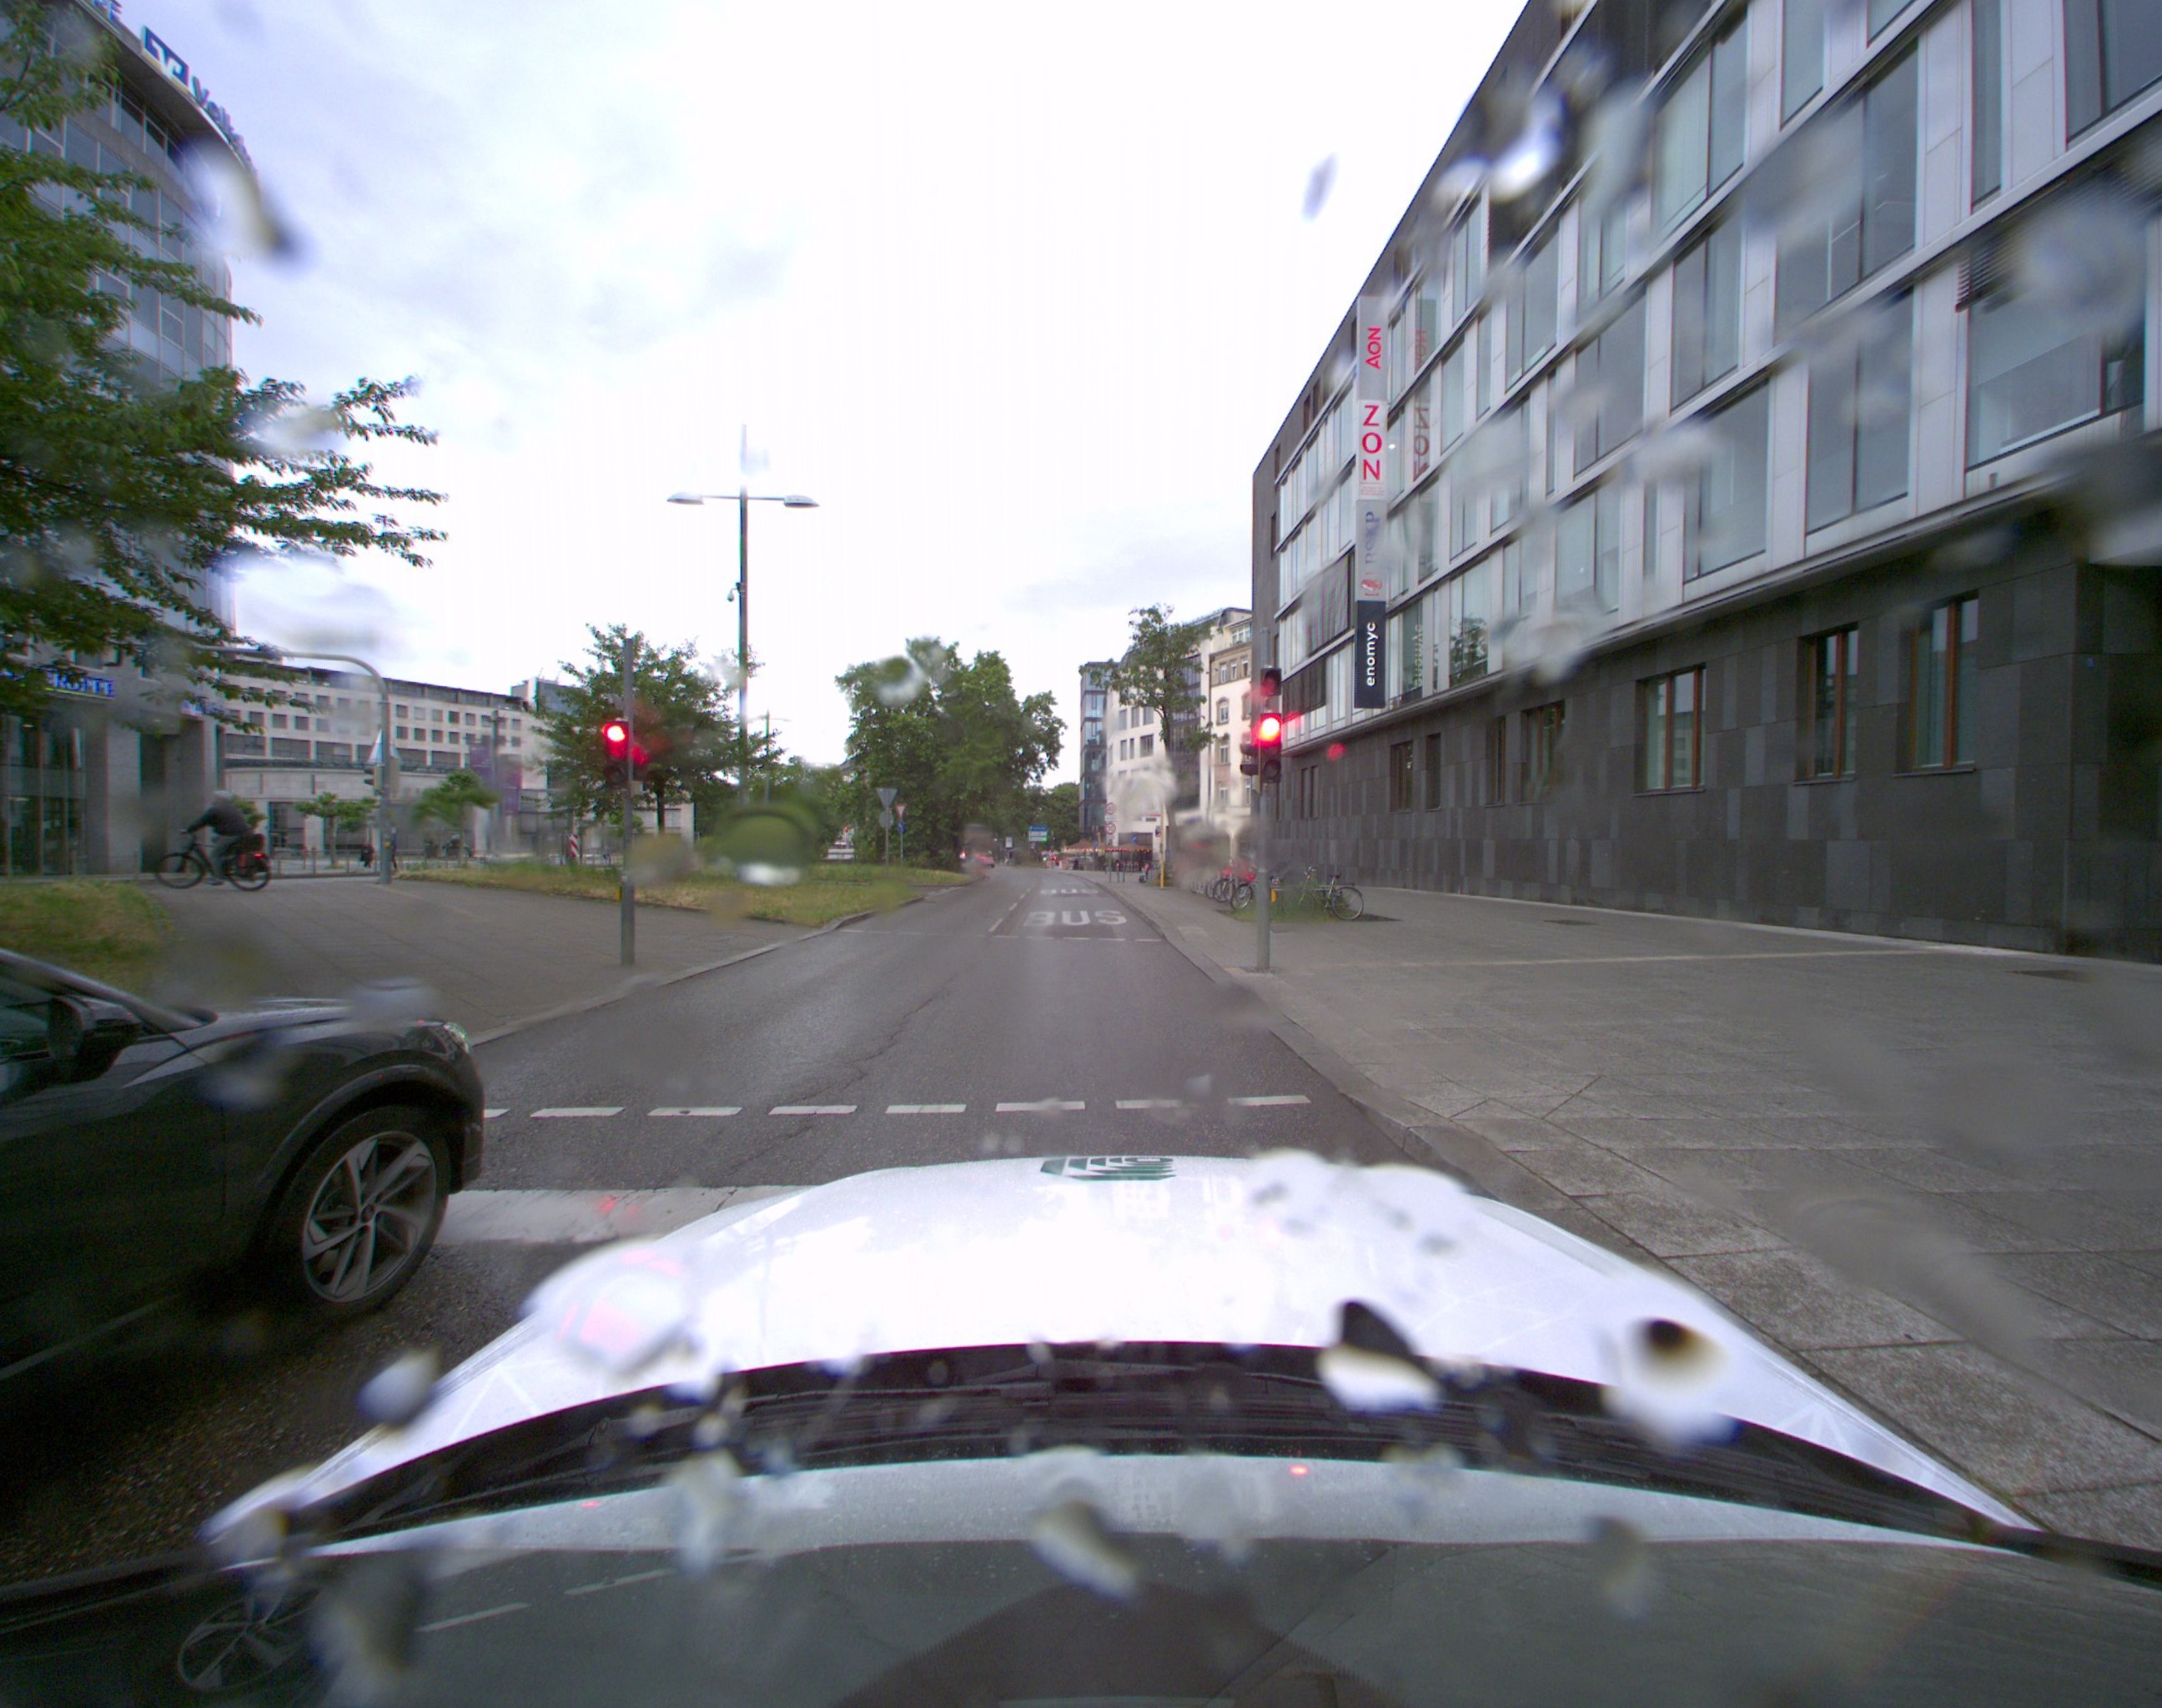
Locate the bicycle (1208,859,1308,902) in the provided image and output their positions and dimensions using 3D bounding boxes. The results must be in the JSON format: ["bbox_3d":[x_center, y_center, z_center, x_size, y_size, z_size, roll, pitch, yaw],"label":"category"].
[{"bbox_3d":[4.687,0.697,21.655,2.530,1.087,0.677,-1,0,-3],"label":"bicycle"}]

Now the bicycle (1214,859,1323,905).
[{"bbox_3d":[4.591,0.682,19.991,2.530,1.087,0.677,-1,0,-3],"label":"bicycle"}]

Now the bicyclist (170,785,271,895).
[{"bbox_3d":[-17.067,-0.275,16.180,1.083,2.082,0.759,2,1,-15],"label":"bicyclist"}]

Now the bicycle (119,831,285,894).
[{"bbox_3d":[-17.328,0.160,16.117,2.129,1.145,0.759,2,1,-15],"label":"bicycle"}]

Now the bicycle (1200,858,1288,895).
[{"bbox_3d":[4.909,0.670,24.625,2.530,1.087,0.677,-1,0,-3],"label":"bicycle"}]

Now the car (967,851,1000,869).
[{"bbox_3d":[-10.480,0.603,87.462,2.006,1.647,3.962,4,0,-30],"label":"car"}]

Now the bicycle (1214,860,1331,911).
[{"bbox_3d":[4.394,0.719,18.770,2.530,1.087,0.677,2,0,-3],"label":"bicycle"}]

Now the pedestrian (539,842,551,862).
[{"bbox_3d":[-54.688,-0.237,83.030,0.791,2.014,0.736,2,-1,-17],"label":"pedestrian"}]

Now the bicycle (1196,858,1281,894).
[{"bbox_3d":[4.929,0.669,25.603,2.530,1.087,0.677,-1,0,-3],"label":"bicycle"}]

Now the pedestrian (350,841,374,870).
[{"bbox_3d":[-38.450,0.083,43.545,0.731,1.516,0.686,-2,0,-24],"label":"pedestrian"}]

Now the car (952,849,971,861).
[{"bbox_3d":[-16.672,0.161,113.326,2.184,1.700,3.978,0,0,-16],"label":"car"}]

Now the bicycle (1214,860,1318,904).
[{"bbox_3d":[4.718,0.701,20.844,2.530,1.087,0.677,-1,0,-3],"label":"bicycle"}]

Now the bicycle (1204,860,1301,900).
[{"bbox_3d":[4.720,0.700,22.522,2.530,1.060,0.677,-1,0,-3],"label":"bicycle"}]

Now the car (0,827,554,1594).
[{"bbox_3d":[-3.186,0.743,1.371,1.842,1.616,4.251,1,1,-1],"label":"car"}]

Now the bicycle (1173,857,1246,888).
[{"bbox_3d":[4.644,0.665,29.563,2.530,1.087,0.627,-1,0,-3],"label":"bicycle"}]

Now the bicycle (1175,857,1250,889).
[{"bbox_3d":[4.657,0.656,28.840,2.530,1.087,0.677,-1,0,-3],"label":"bicycle"}]

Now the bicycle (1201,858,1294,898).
[{"bbox_3d":[4.778,0.685,23.430,2.530,1.087,0.677,-1,0,-3],"label":"bicycle"}]

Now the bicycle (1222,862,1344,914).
[{"bbox_3d":[4.445,0.737,17.964,2.530,1.087,0.677,0,0,-3],"label":"bicycle"}]

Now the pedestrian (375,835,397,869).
[{"bbox_3d":[-37.471,-0.103,43.910,0.622,1.763,0.721,-2,0,-19],"label":"pedestrian"}]

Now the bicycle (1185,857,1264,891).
[{"bbox_3d":[4.775,0.653,27.200,2.530,1.087,0.677,-1,0,-3],"label":"bicycle"}]

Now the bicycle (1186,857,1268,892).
[{"bbox_3d":[4.716,0.669,26.448,2.530,1.087,0.677,-1,0,-3],"label":"bicycle"}]

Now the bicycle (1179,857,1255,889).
[{"bbox_3d":[4.679,0.643,28.091,2.530,1.087,0.677,-1,0,-3],"label":"bicycle"}]

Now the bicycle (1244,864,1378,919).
[{"bbox_3d":[4.624,0.745,16.482,2.530,1.057,0.677,0,0,-3],"label":"bicycle"}]

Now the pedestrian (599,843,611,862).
[{"bbox_3d":[-50.822,-0.125,86.958,0.784,2.014,0.742,2,0,9],"label":"pedestrian"}]
